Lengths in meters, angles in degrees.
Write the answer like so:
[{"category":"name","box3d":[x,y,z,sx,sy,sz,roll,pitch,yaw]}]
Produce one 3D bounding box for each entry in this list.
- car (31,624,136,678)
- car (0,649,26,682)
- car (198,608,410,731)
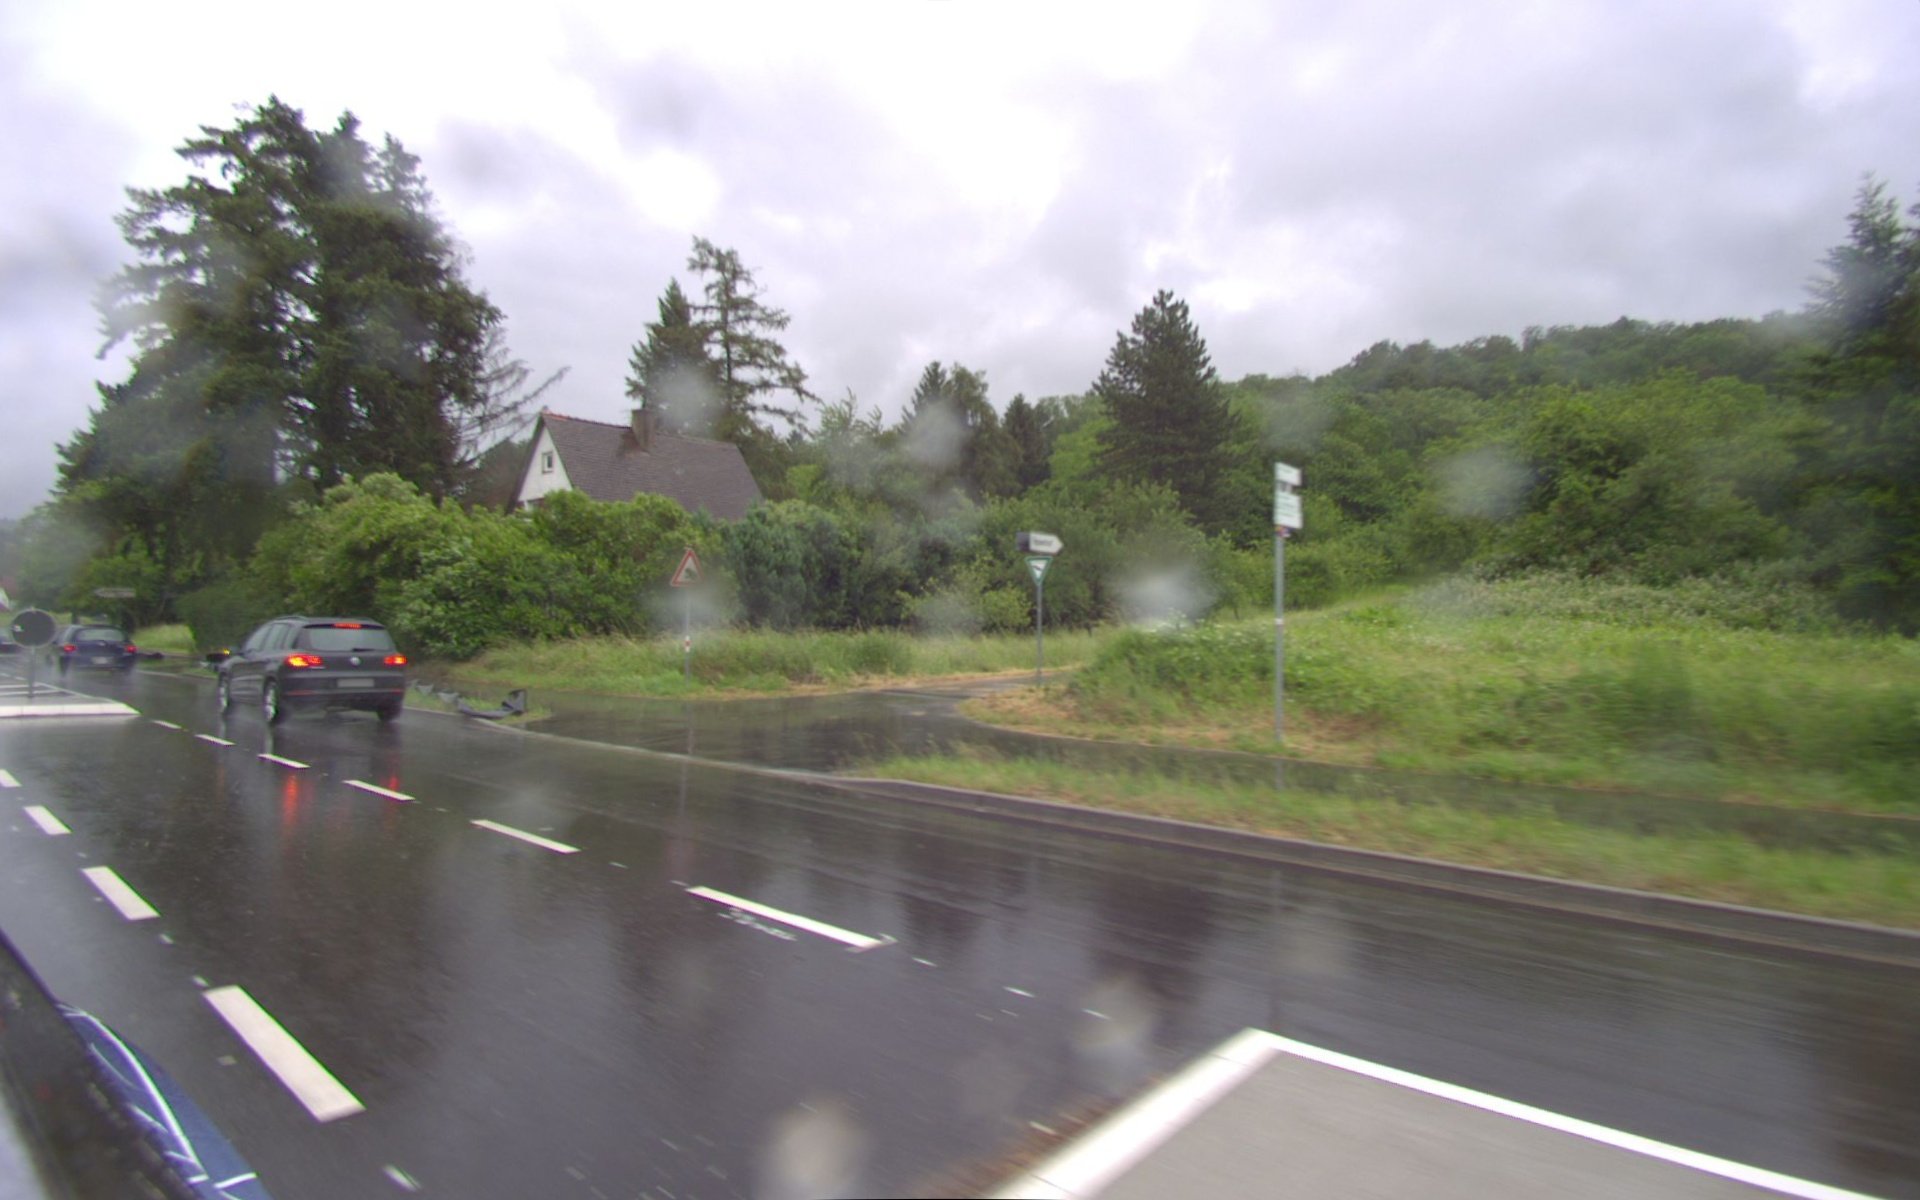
[{"category":"car","box3d":[-25.068,1.446,28.918,3.680,1.456,1.723,-2,-4,41]},{"category":"car","box3d":[-44.925,3.061,47.040,4.221,1.393,1.666,-1,1,40]},{"category":"car","box3d":[-10.712,1.068,16.405,4.265,1.731,1.723,-2,-4,41]}]
